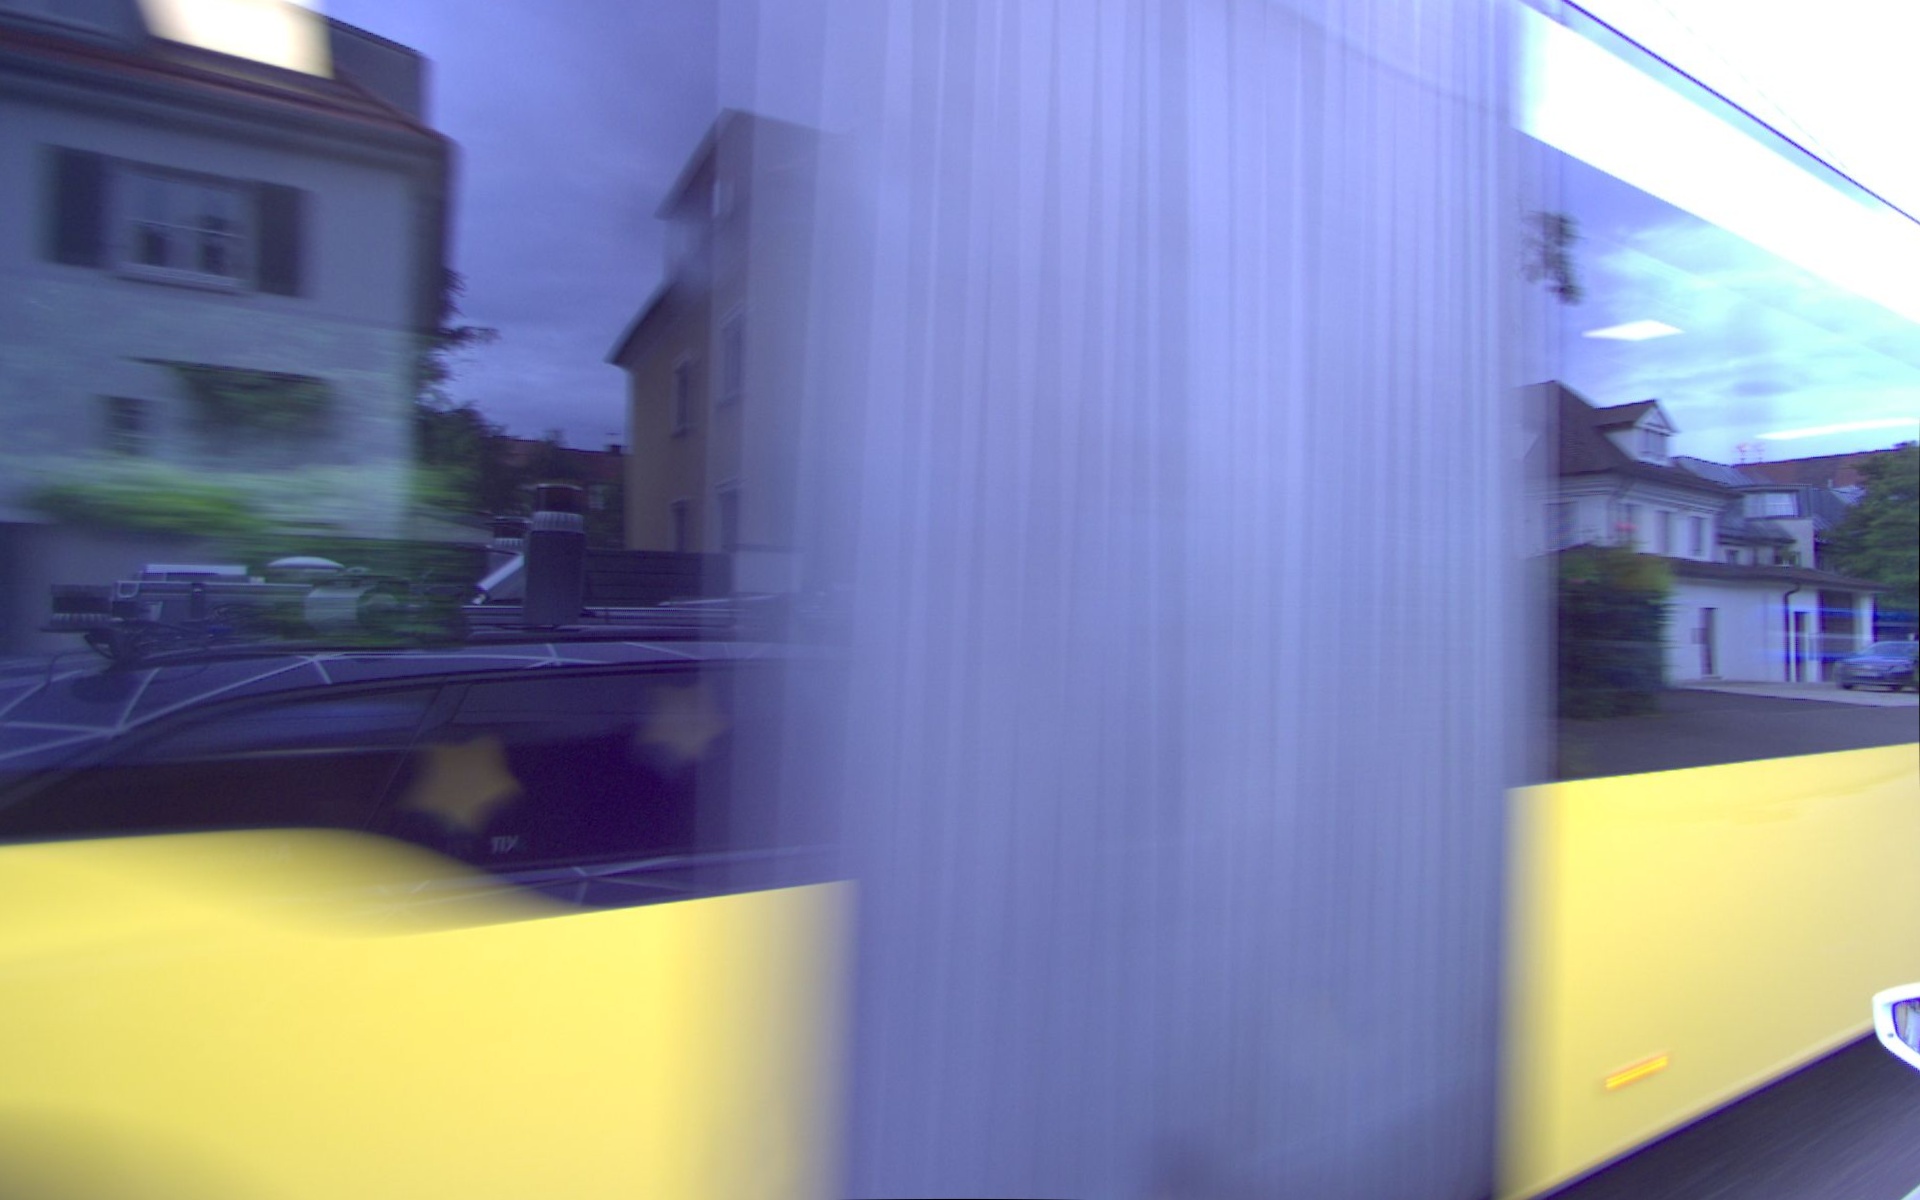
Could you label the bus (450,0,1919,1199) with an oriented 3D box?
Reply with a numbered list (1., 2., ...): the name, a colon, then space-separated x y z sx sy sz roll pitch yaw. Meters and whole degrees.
1. bus: 2.665 -0.013 4.399 8.537 3.200 2.581 2 -1 -31
